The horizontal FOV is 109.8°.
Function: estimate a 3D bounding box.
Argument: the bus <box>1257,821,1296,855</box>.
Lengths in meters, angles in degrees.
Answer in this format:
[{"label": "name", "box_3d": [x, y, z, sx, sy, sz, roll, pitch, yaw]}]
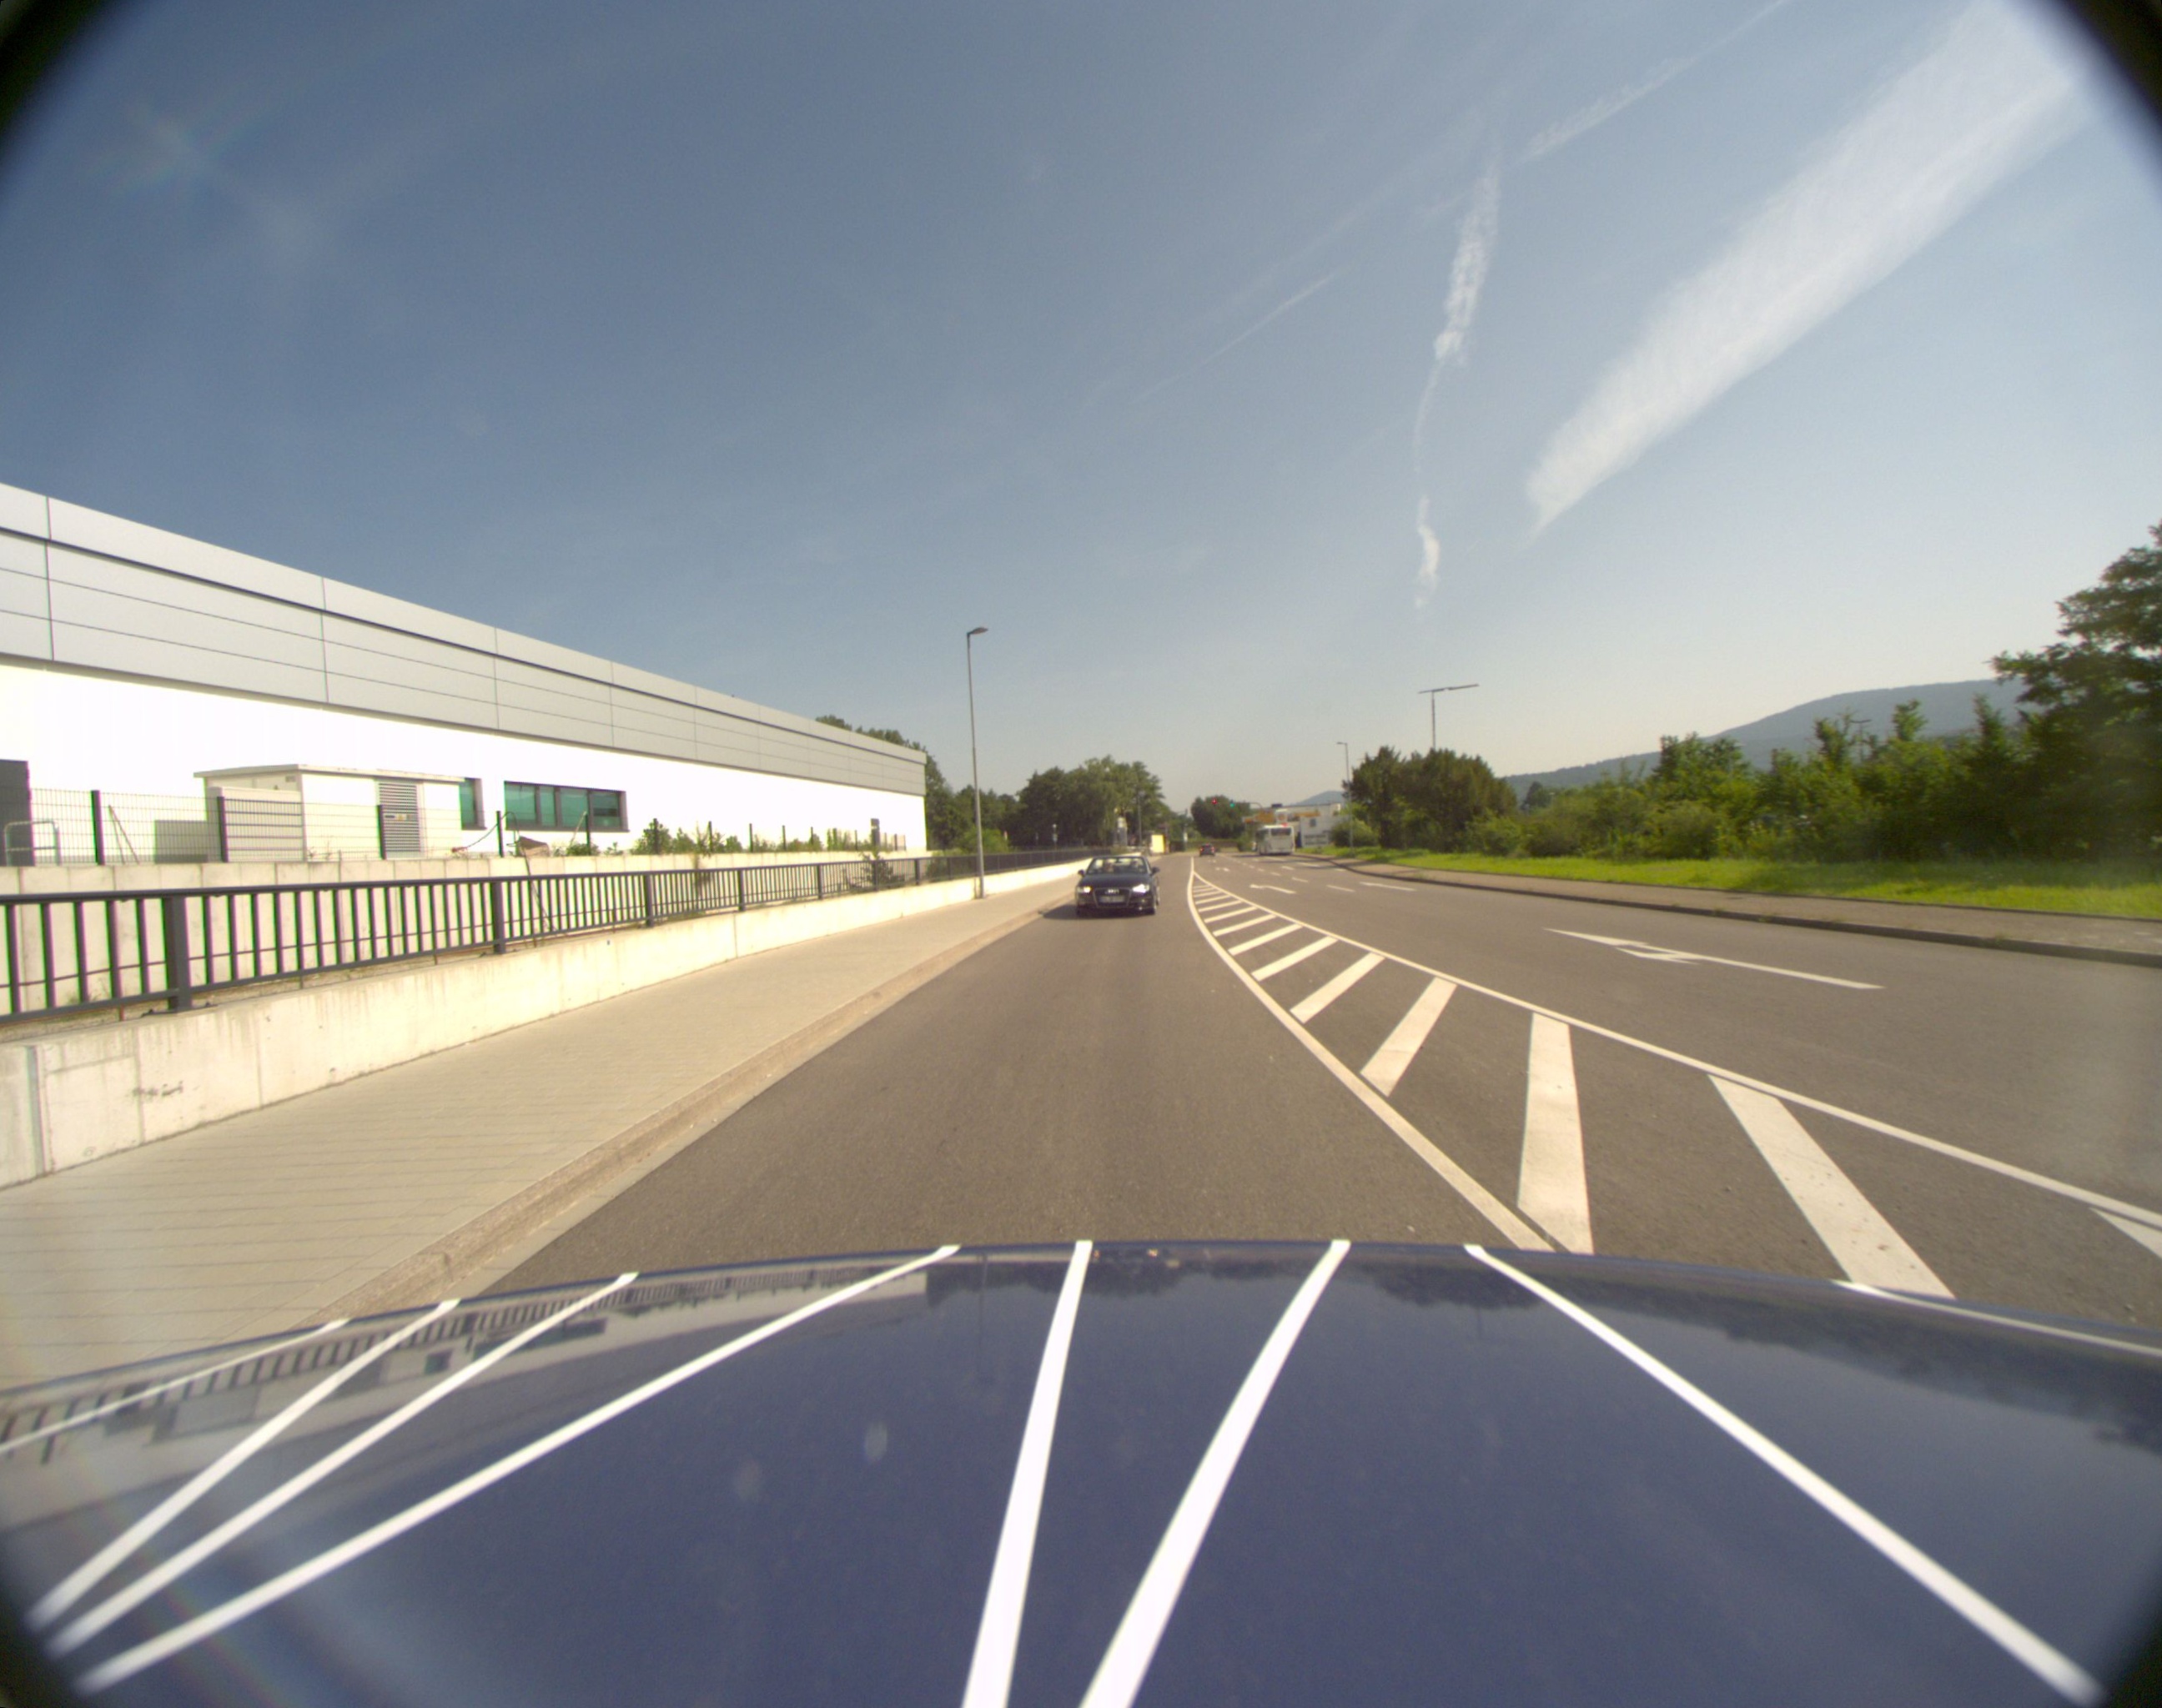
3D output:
[{"label": "bus", "box_3d": [20.943, -1.779, 82.012, 2.626, 3.291, 11.961, -2, 1, 8]}]

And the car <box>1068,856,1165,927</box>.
[{"label": "car", "box_3d": [0.972, 0.802, 18.228, 1.867, 1.323, 4.234, -3, 1, 8]}]

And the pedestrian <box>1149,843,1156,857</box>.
[{"label": "pedestrian", "box_3d": [8.980, -0.533, 95.659, 0.712, 1.662, 0.593, -2, 2, 2]}]

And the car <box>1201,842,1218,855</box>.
[{"label": "car", "box_3d": [14.883, -0.650, 88.221, 1.775, 1.464, 4.221, -2, 1, 9]}]
